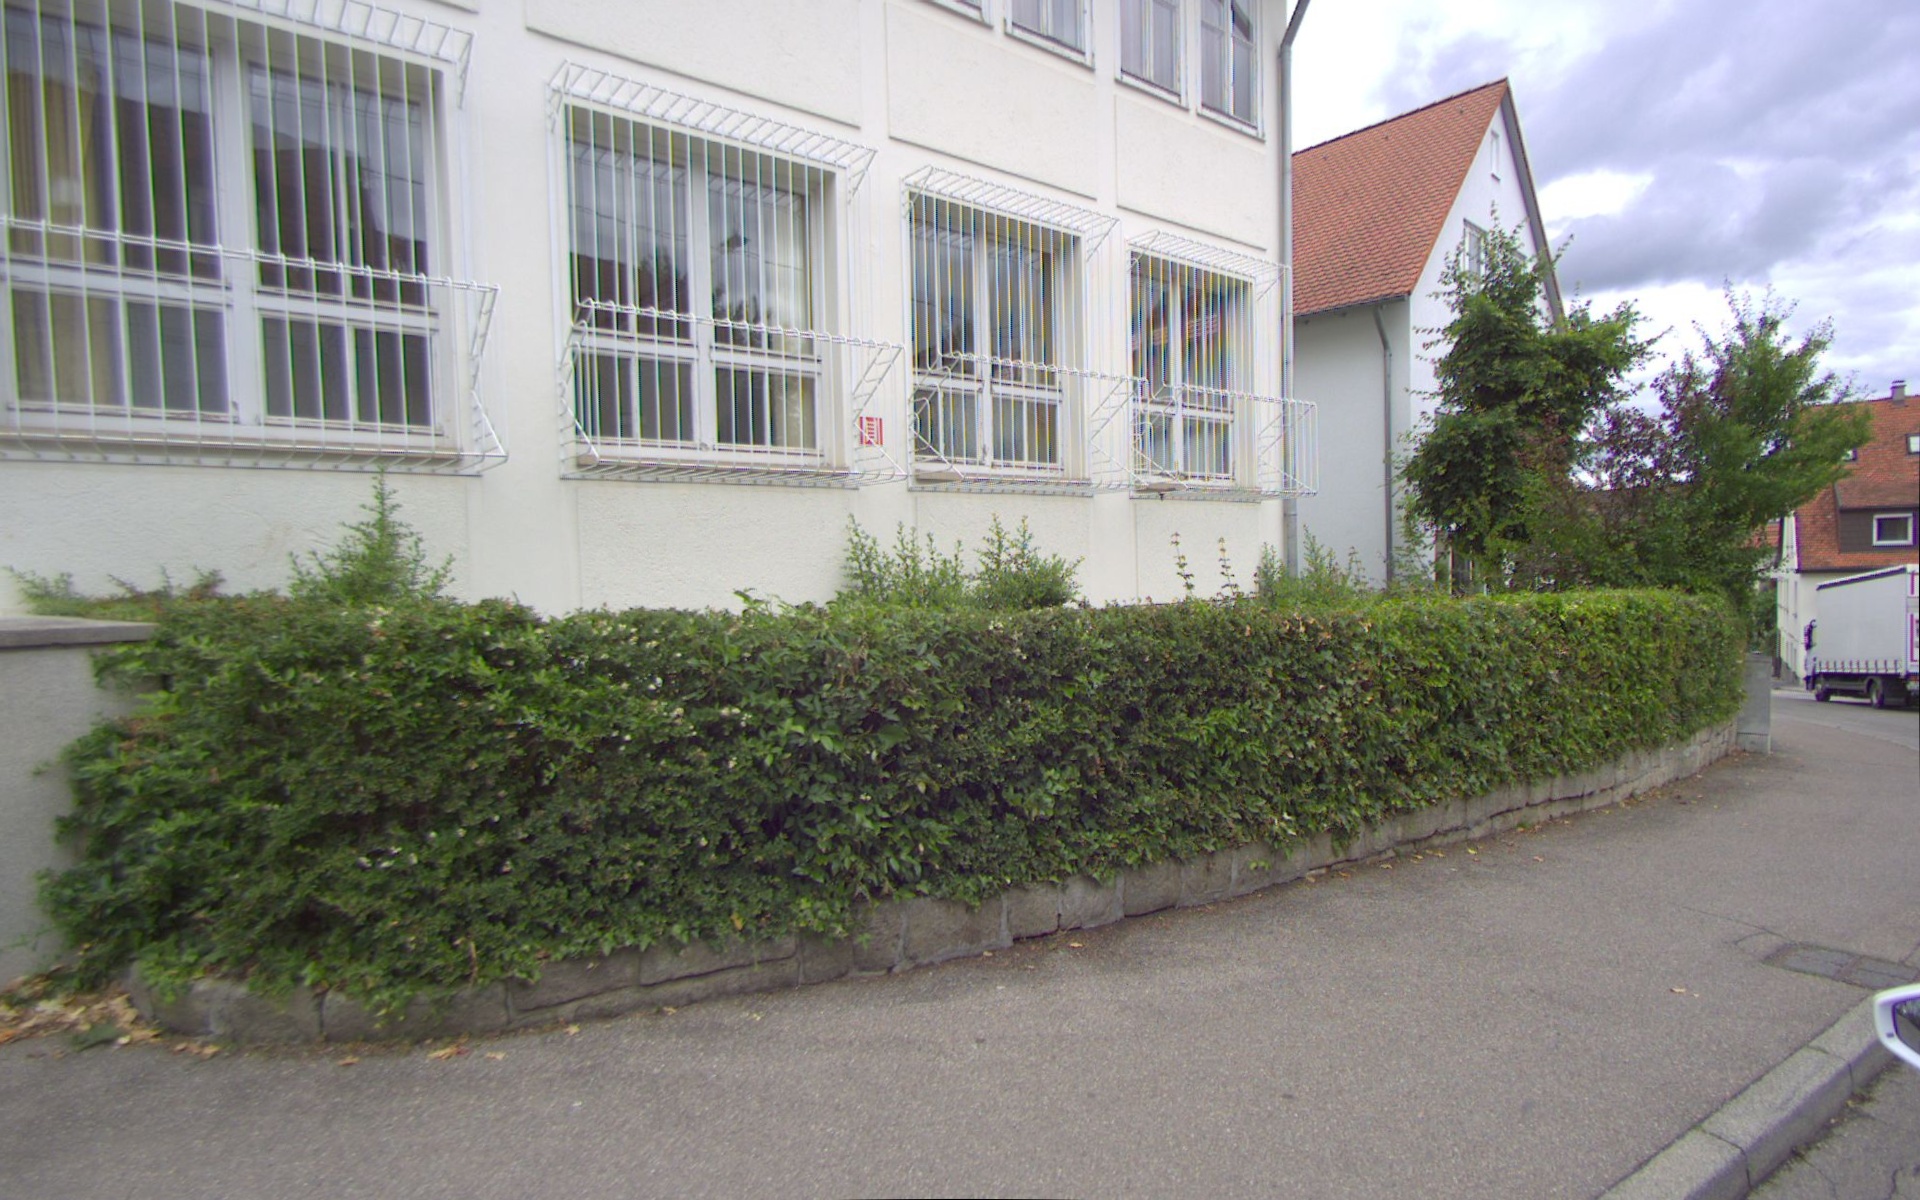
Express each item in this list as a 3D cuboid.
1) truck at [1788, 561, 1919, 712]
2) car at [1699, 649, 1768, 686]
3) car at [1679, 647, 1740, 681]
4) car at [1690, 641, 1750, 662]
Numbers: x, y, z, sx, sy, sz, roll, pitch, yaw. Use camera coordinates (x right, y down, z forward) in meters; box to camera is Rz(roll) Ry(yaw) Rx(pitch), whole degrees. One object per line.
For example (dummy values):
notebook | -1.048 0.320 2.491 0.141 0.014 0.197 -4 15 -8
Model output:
truck | 25.827 1.047 27.650 2.633 3.644 8.101 1 -2 24
car | 33.814 2.921 43.991 1.648 1.427 4.047 2 -1 27
car | 36.231 3.074 48.659 1.768 1.464 4.291 2 -2 29
car | 62.303 4.220 82.419 1.670 1.577 3.681 1 0 -17
